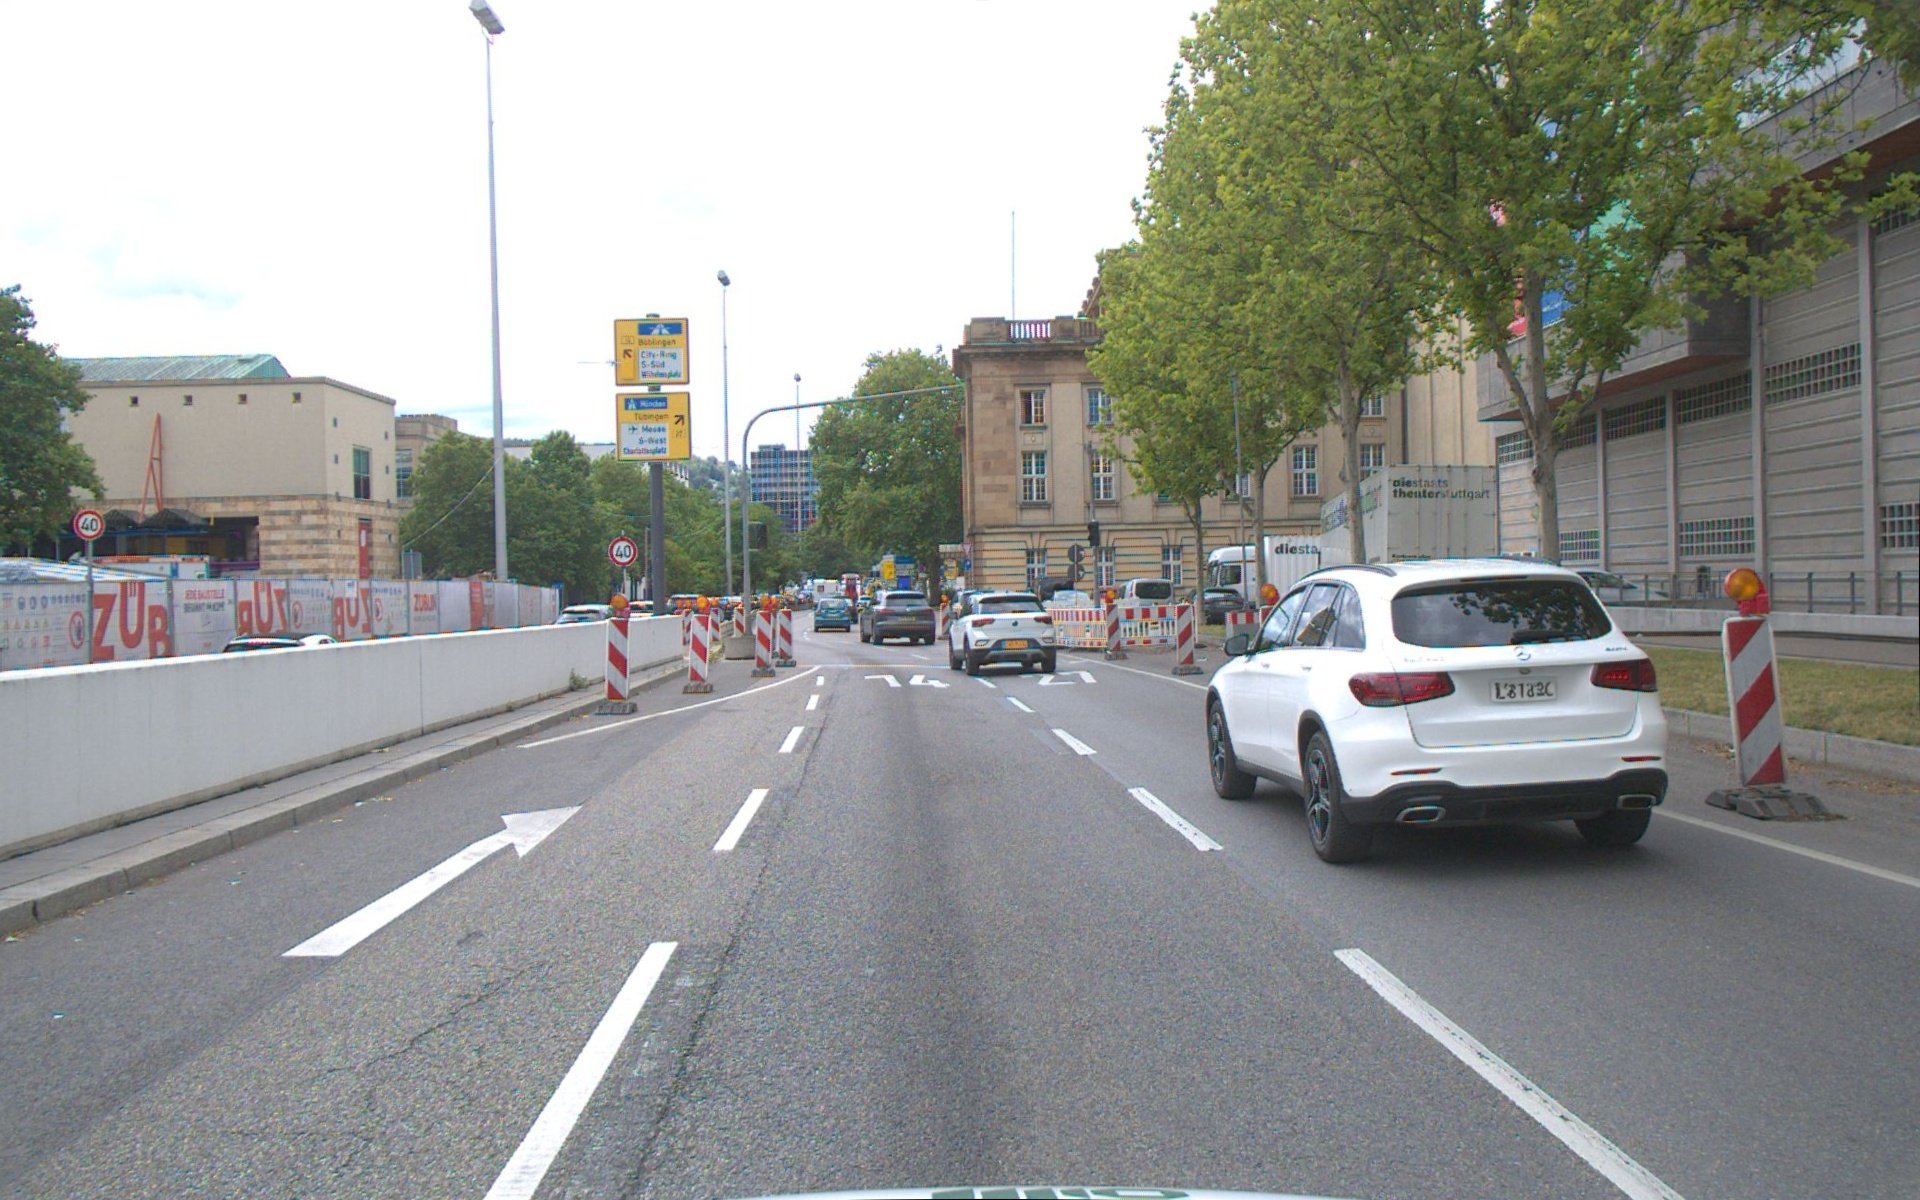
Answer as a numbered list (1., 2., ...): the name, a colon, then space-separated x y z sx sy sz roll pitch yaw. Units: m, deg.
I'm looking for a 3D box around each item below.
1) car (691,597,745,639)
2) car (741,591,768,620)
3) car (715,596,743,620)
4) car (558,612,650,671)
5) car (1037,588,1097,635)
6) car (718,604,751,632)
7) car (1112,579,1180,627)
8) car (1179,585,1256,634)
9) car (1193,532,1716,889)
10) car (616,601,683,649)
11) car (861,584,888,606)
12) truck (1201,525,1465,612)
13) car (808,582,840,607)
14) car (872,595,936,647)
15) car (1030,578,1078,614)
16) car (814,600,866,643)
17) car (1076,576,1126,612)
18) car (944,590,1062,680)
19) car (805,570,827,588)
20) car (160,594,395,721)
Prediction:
1. car: -10.086 0.741 69.029 1.715 1.595 3.376 -4 0 -1
2. car: -16.253 0.412 130.911 1.955 2.048 3.996 -2 2 -5
3. car: -16.405 0.556 117.554 1.716 1.595 4.326 -1 0 -5
4. car: -10.350 1.165 48.384 1.715 1.595 4.331 -1 0 0
5. car: 3.840 0.418 59.755 1.715 1.595 4.329 -1 -1 -2
6. car: -13.224 1.038 97.165 1.716 1.595 4.326 -1 0 -5
7. car: 6.433 0.130 57.509 1.715 1.595 4.329 -1 -1 -2
8. car: 8.853 0.337 57.118 1.819 1.595 4.329 -1 -1 -2
9. car: 2.839 0.536 10.670 1.775 1.671 4.550 -4 1 -2
10. car: -10.757 0.842 57.482 1.715 1.595 3.376 -1 0 -1
11. car: -9.703 -0.559 188.136 2.529 2.415 5.528 -2 0 2
12. truck: 14.722 -1.222 65.722 9.827 3.104 2.568 -2 -1 -2
13. car: -13.881 -0.581 168.820 2.529 2.415 5.528 -2 0 2
14. car: -1.815 0.645 52.614 1.788 1.595 4.475 0 0 -5
15. car: 4.383 -0.167 77.814 1.819 1.595 4.329 -1 -1 -2
16. car: -5.410 0.962 74.888 1.785 1.771 4.481 -2 0 2
17. car: 6.659 -0.253 78.314 1.819 1.595 4.329 -1 -1 -2
18. car: 0.797 0.648 33.486 1.717 1.595 4.325 -3 0 -7
19. car: -21.163 -3.072 242.984 2.529 2.415 5.528 -2 0 2
20. car: -10.038 0.788 24.672 1.954 1.670 3.998 -2 0 -3
